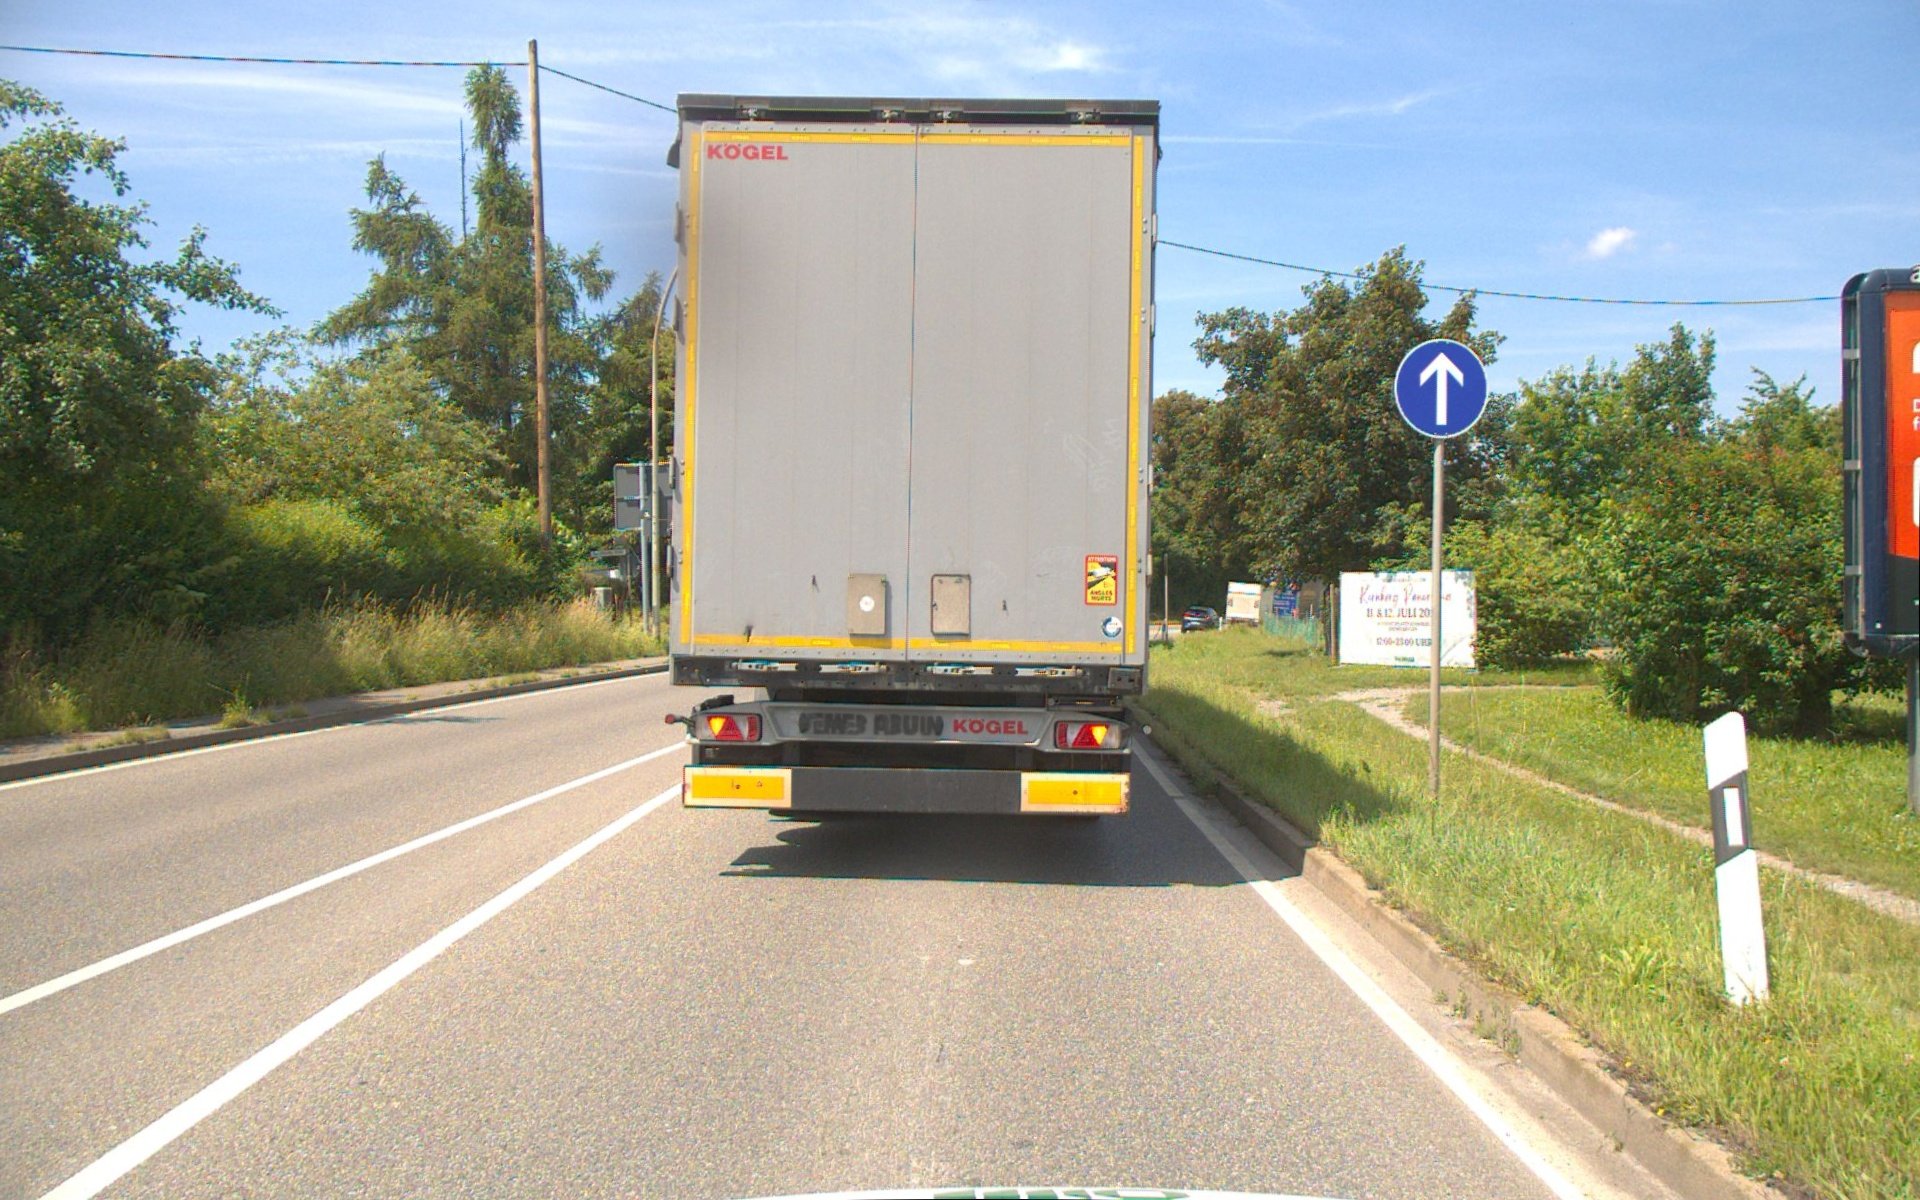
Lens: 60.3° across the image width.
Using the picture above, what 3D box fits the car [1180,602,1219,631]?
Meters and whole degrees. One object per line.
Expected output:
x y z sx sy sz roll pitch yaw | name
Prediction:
13.615 0.921 93.918 1.802 1.512 4.003 0 1 14 | car

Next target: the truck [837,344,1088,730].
0.252 -0.746 21.349 2.688 4.238 6.147 1 1 5 | truck

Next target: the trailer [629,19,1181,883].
-0.055 -0.812 14.283 2.729 4.278 12.115 0 1 2 | trailer

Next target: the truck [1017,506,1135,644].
4.295 -0.854 59.553 3.853 4.655 7.157 0 0 7 | truck

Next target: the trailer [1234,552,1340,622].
24.112 -0.968 120.954 5.072 4.709 15.898 1 1 20 | trailer

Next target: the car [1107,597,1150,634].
8.915 0.797 87.364 1.951 1.870 4.004 1 1 10 | car

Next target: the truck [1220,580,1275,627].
18.318 0.166 105.111 2.371 2.888 5.412 1 1 22 | truck

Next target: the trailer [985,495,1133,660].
3.420 -0.731 52.788 3.808 4.599 12.724 0 1 7 | trailer

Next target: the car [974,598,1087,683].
1.462 0.758 32.909 1.951 1.557 4.003 1 0 6 | car
